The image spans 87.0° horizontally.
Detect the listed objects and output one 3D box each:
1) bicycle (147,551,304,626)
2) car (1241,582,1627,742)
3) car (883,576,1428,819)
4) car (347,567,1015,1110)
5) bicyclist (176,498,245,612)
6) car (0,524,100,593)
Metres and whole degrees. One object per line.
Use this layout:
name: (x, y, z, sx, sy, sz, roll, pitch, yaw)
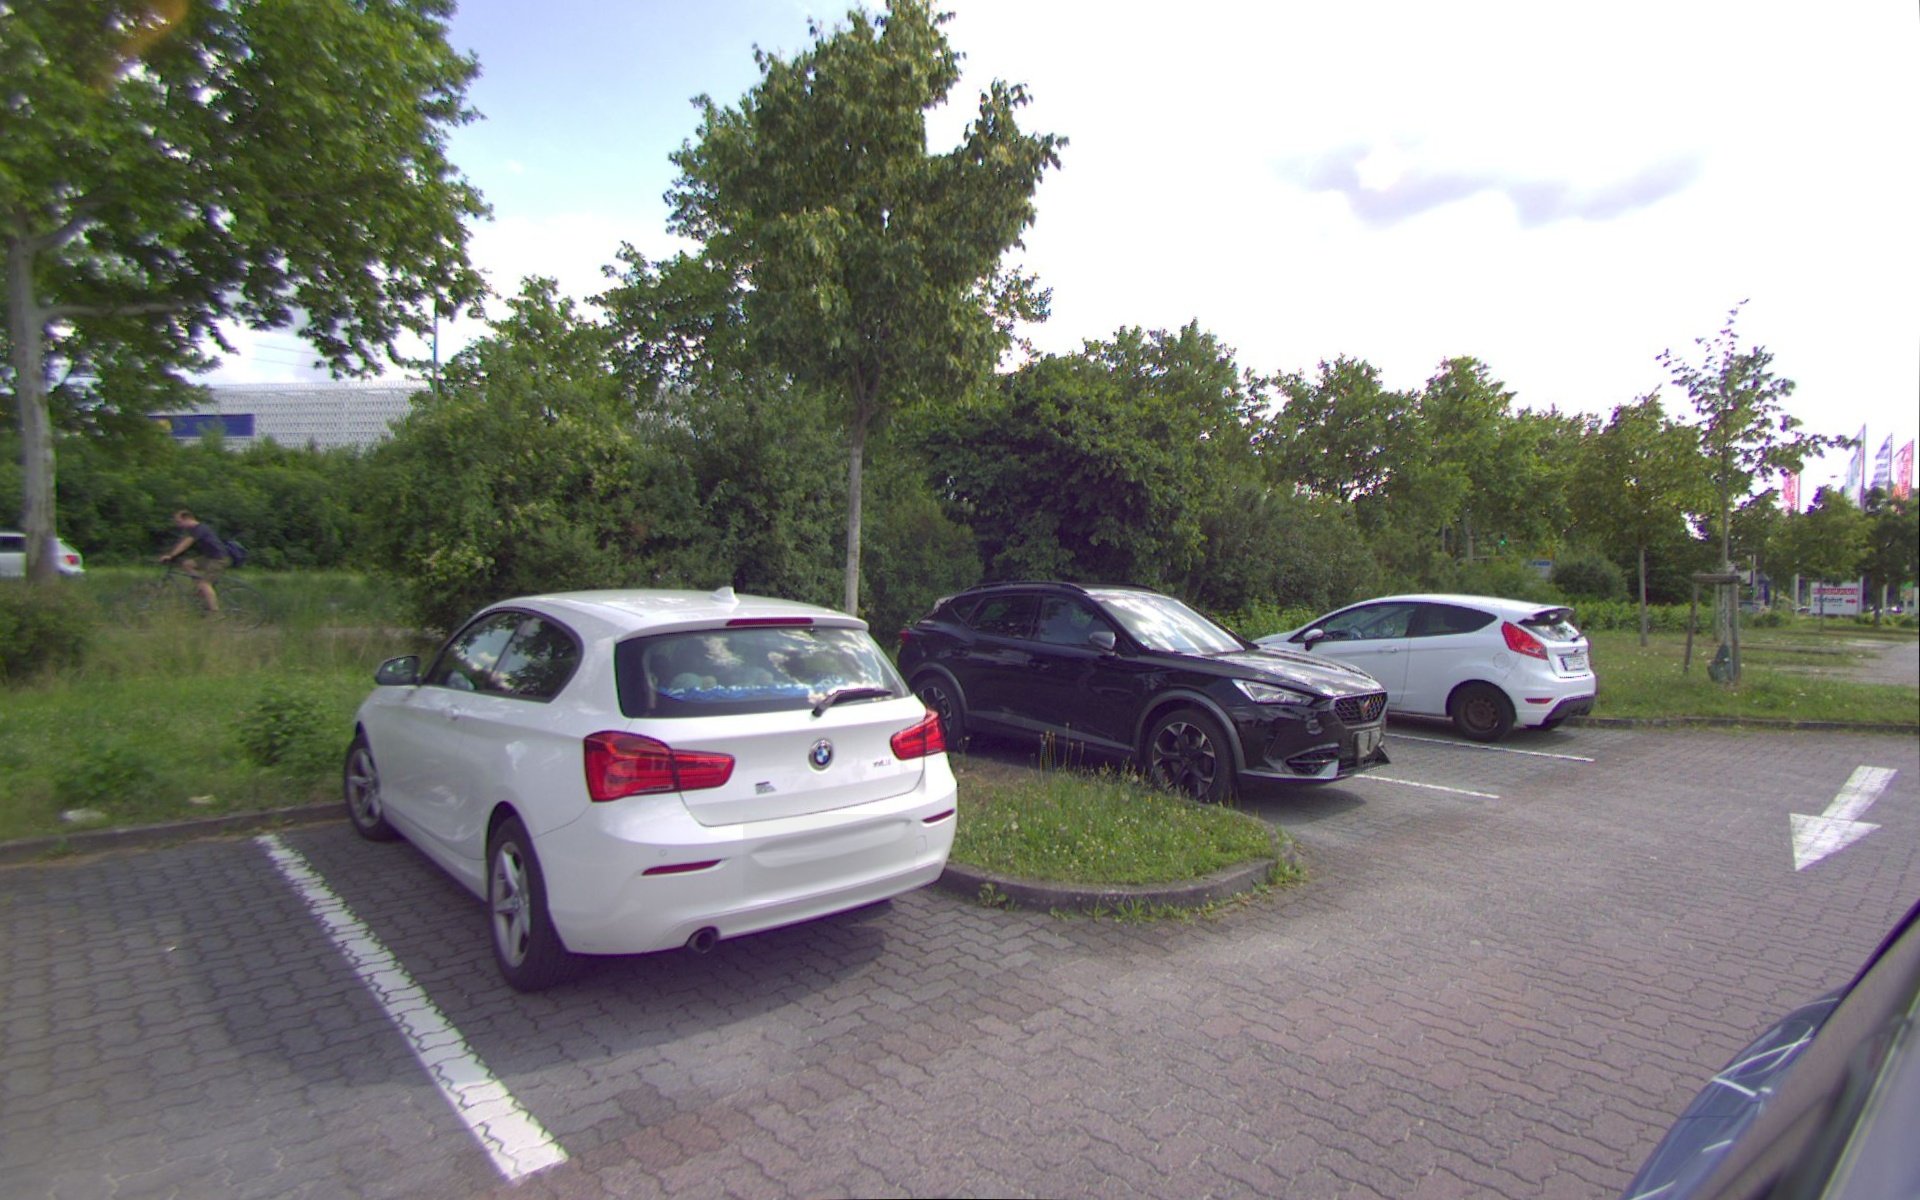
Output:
bicycle: (-10.877, -0.174, 15.032, 1.839, 1.051, 0.526, -1, 0, -43)
car: (5.142, 0.552, 11.351, 1.640, 1.429, 3.556, 0, 2, -38)
car: (1.346, 0.556, 8.340, 1.704, 1.428, 4.235, 0, 2, -42)
car: (-1.718, 0.615, 4.990, 1.660, 1.528, 4.077, -1, 2, -40)
bicyclist: (-11.035, -0.645, 14.900, 0.749, 1.612, 0.635, -1, -1, -43)
car: (-23.061, -0.942, 23.840, 4.113, 1.568, 1.846, -3, 1, -45)
